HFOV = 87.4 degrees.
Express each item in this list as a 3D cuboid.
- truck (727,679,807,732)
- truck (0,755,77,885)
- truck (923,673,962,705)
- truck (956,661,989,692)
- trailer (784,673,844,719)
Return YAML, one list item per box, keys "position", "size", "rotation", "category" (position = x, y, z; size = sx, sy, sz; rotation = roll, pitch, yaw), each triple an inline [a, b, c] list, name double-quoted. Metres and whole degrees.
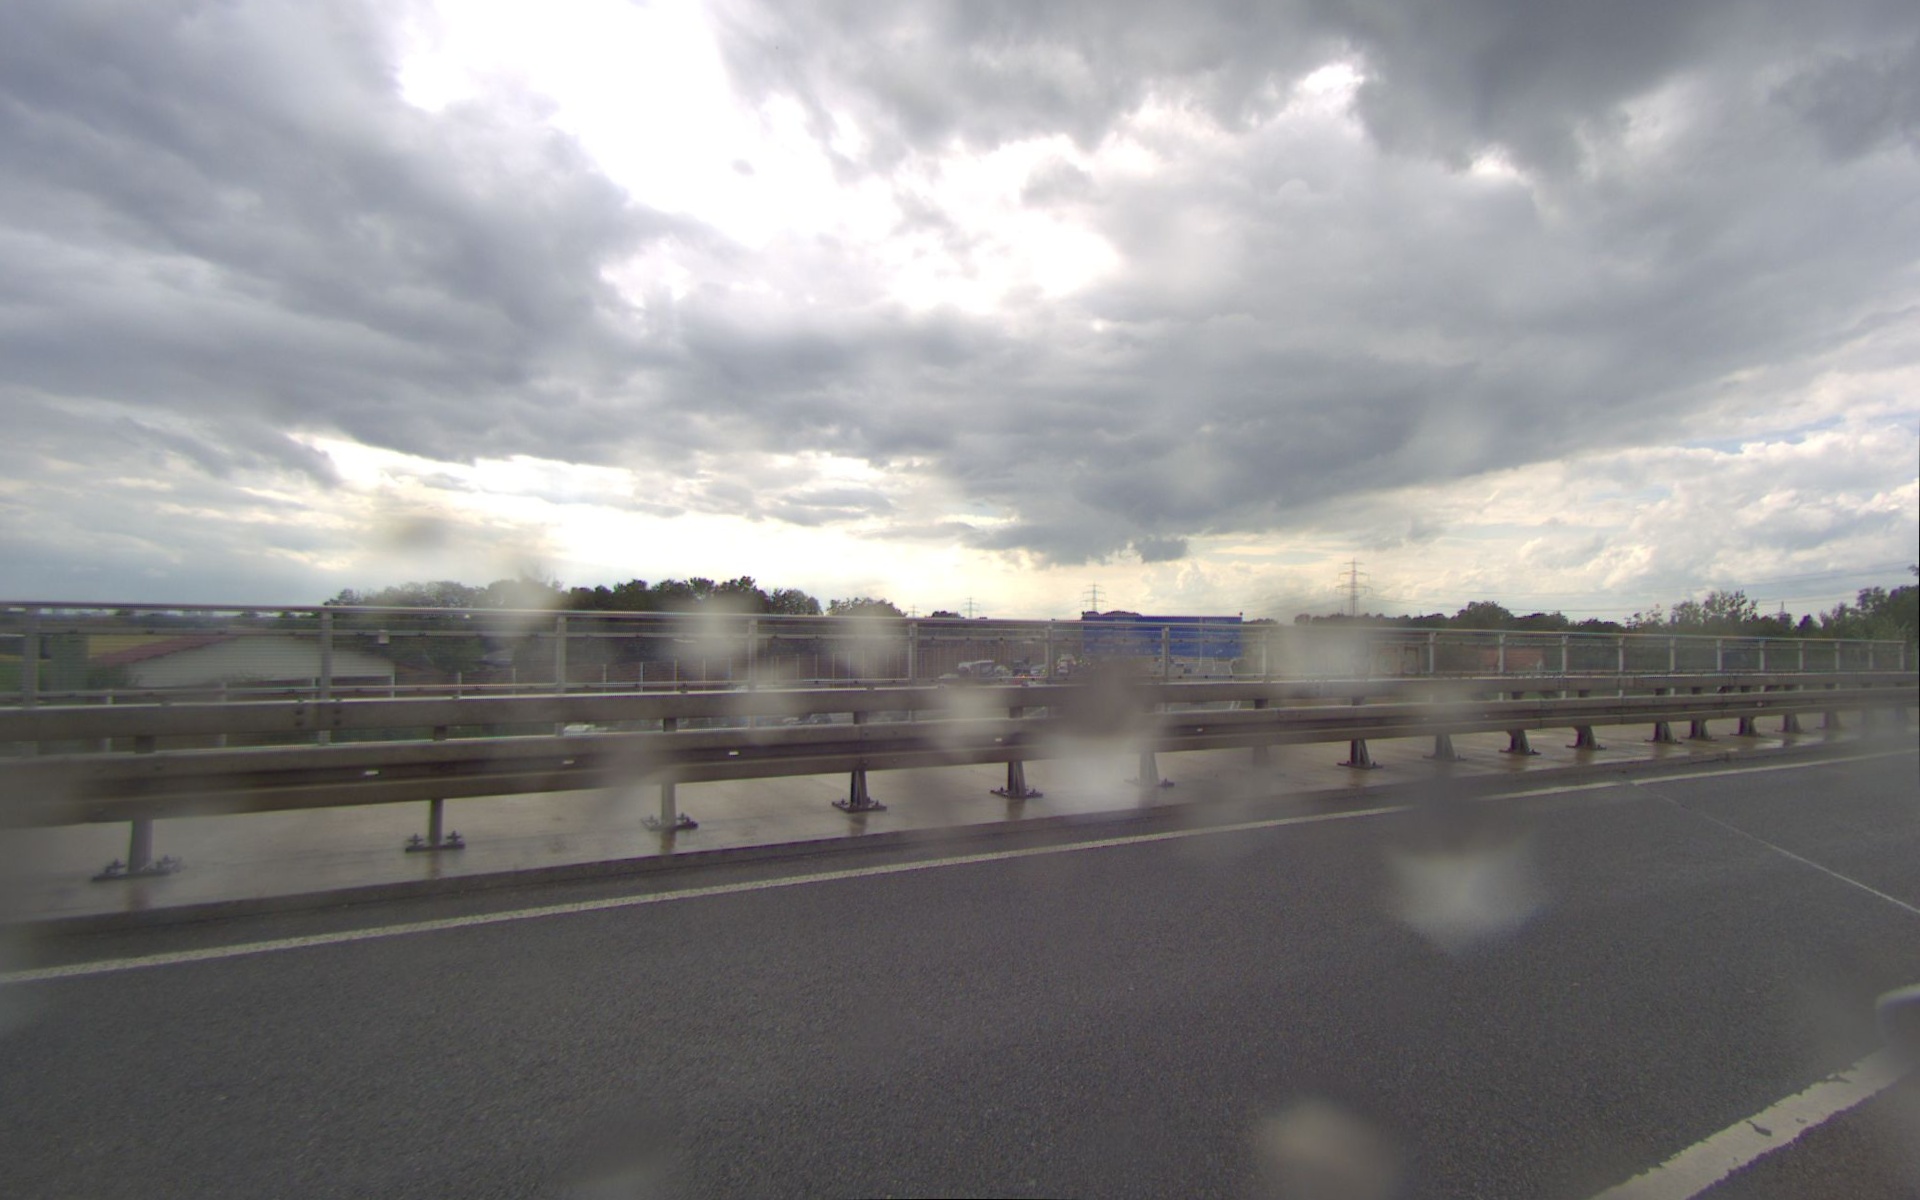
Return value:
- position: [-17.823, 9.722, 93.837]
  size: [2.388, 3.812, 11.174]
  rotation: [2, 0, 16]
  category: "truck"
- position: [-35.591, 7.866, 32.309]
  size: [2.388, 4.055, 11.174]
  rotation: [2, 0, 16]
  category: "truck"
- position: [-2.510, 13.070, 148.697]
  size: [2.388, 3.812, 11.174]
  rotation: [2, 0, 16]
  category: "truck"
- position: [2.062, 12.418, 165.049]
  size: [2.388, 4.250, 11.174]
  rotation: [2, 0, 16]
  category: "truck"
- position: [-14.936, 9.812, 103.736]
  size: [2.388, 3.812, 9.462]
  rotation: [2, 0, 16]
  category: "trailer"
